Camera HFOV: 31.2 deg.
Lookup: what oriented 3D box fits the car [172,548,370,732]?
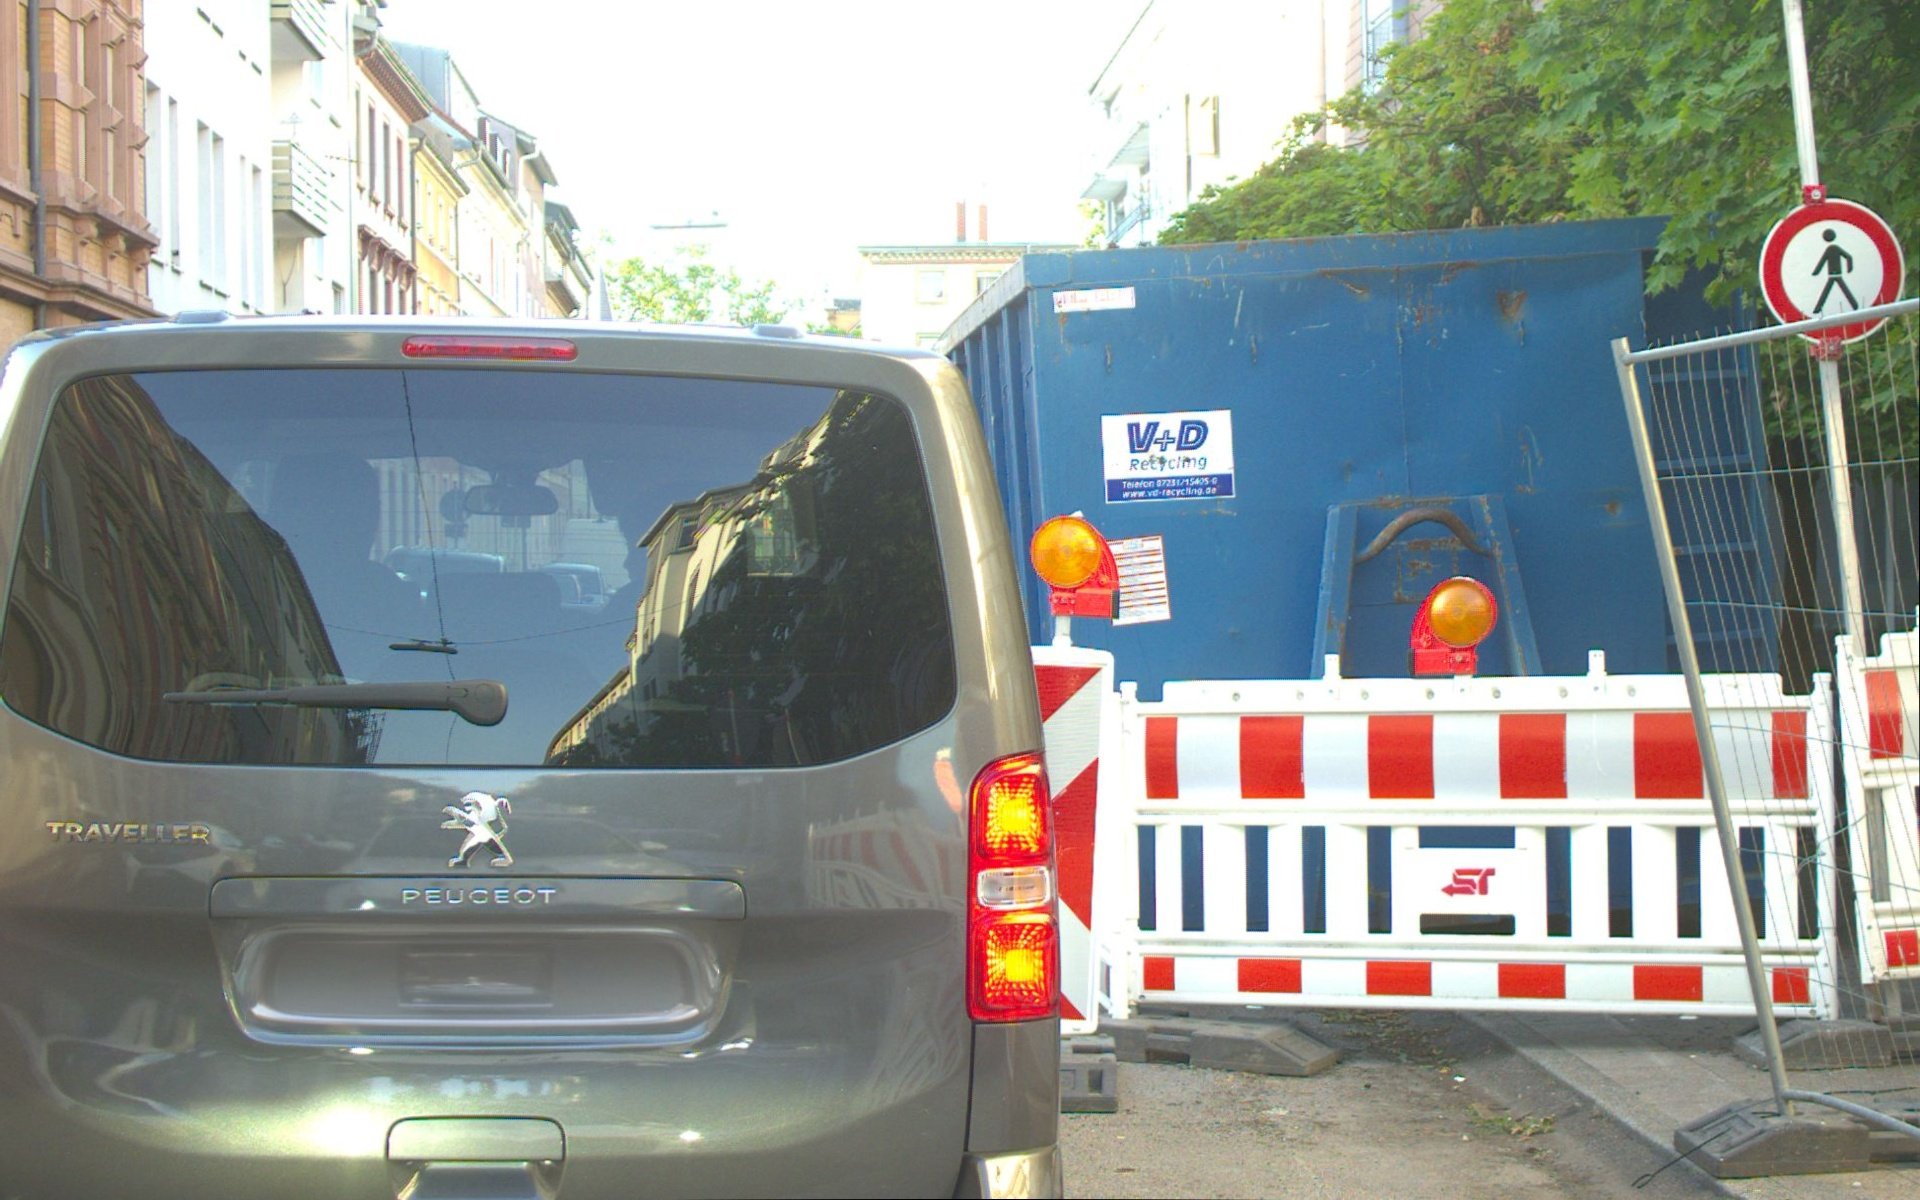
[{"bbox_3d":[-6.187,0.324,31.089,1.395,1.583,2.794,0,1,-4],"label":"car"}]

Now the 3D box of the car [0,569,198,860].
[{"bbox_3d":[-5.260,0.556,18.862,1.632,1.425,3.556,0,1,-5],"label":"car"}]

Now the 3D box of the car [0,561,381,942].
[{"bbox_3d":[-3.954,0.576,15.547,1.993,1.481,4.000,0,1,0],"label":"car"}]

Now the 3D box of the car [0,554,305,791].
[{"bbox_3d":[-5.676,0.455,24.427,1.555,1.503,3.598,2,1,-4],"label":"car"}]

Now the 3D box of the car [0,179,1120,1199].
[{"bbox_3d":[-0.854,0.412,6.820,1.857,2.007,4.001,-2,1,-4],"label":"car"}]
